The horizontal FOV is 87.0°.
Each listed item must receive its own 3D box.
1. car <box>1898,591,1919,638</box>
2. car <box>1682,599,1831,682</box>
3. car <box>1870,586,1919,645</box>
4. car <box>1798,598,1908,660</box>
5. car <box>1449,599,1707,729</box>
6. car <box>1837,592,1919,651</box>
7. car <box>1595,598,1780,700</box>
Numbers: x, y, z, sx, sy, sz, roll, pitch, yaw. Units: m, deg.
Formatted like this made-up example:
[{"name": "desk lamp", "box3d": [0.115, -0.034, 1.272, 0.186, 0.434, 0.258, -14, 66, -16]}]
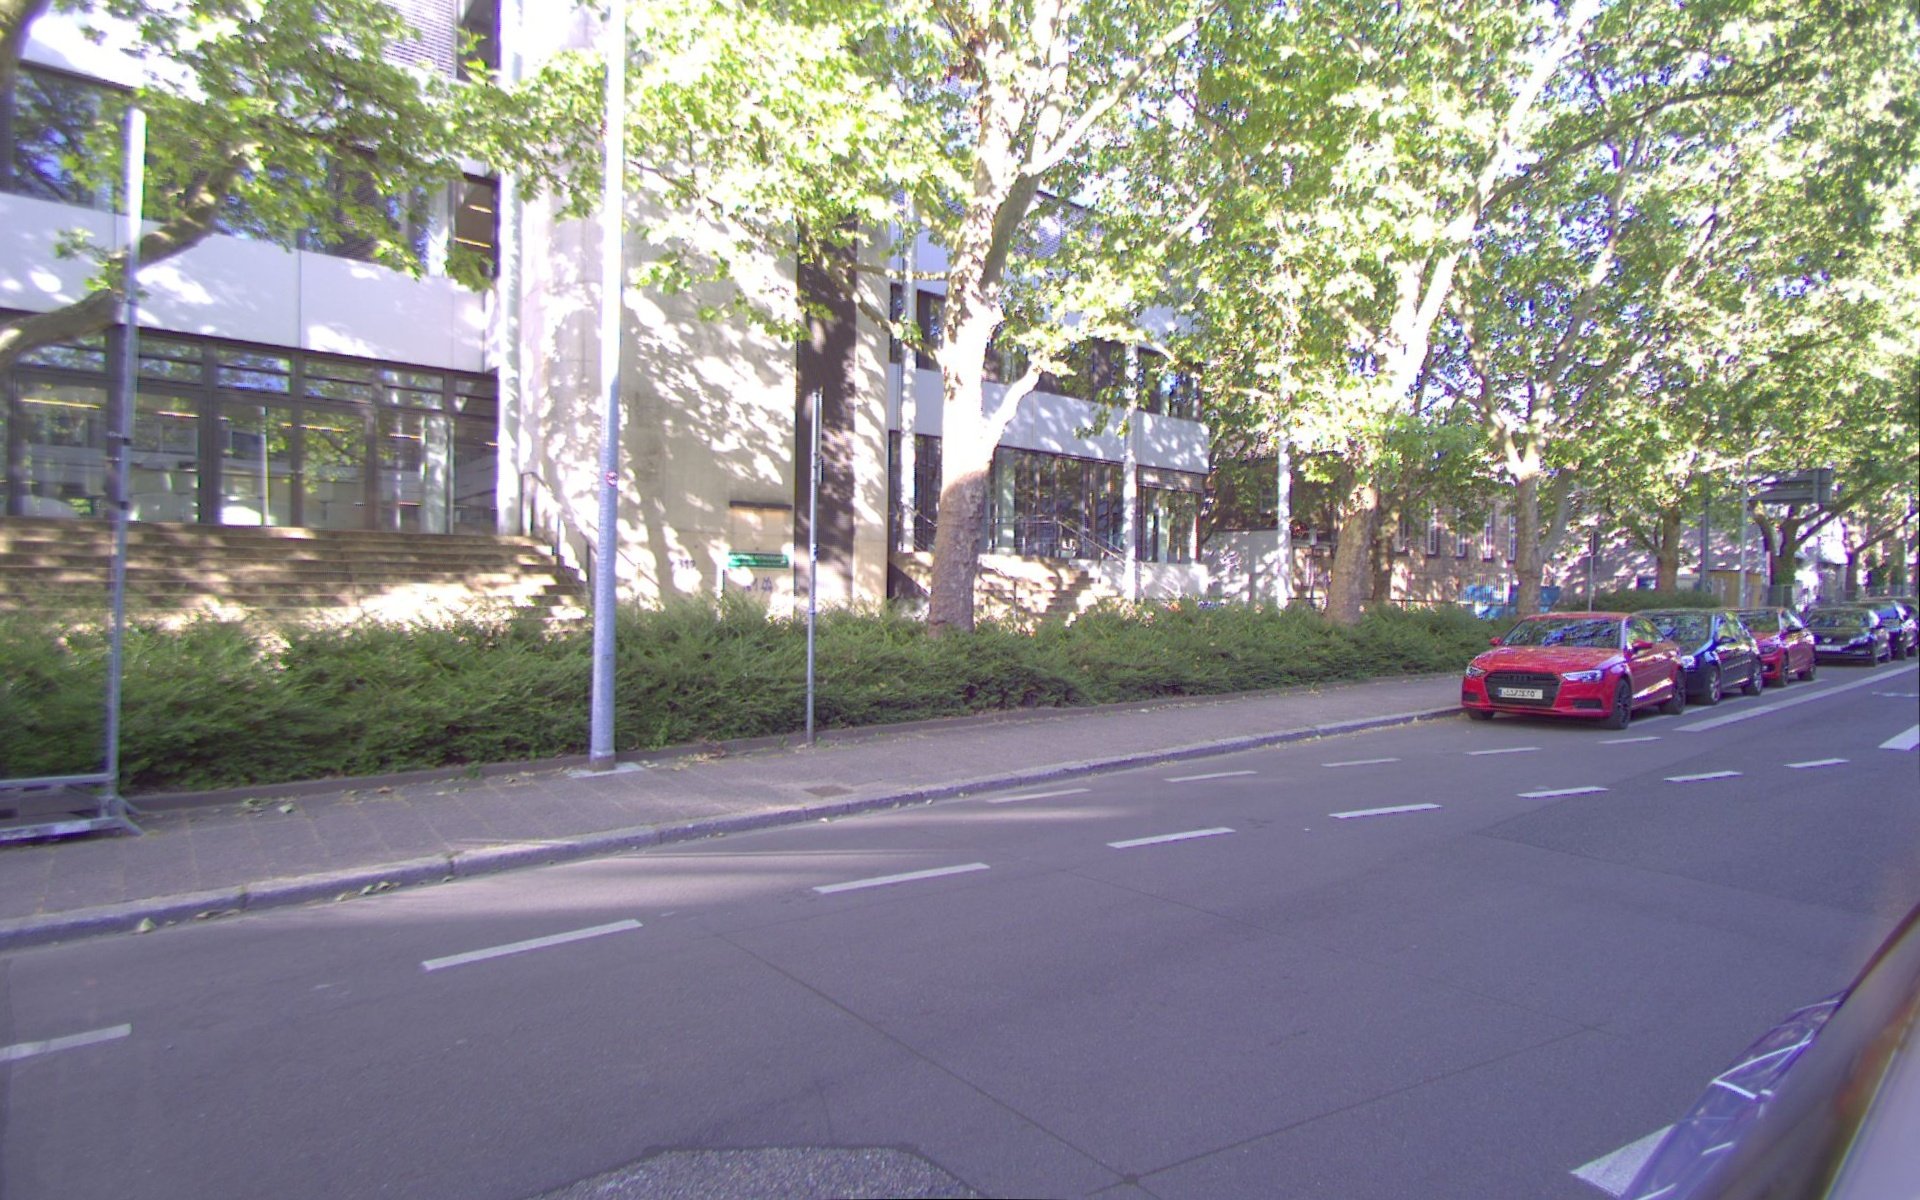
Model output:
[{"name": "car", "box3d": [35.928, 0.528, 37.240, 3.777, 1.675, 1.634, 0, -1, -41]}, {"name": "car", "box3d": [15.739, 0.723, 19.954, 3.674, 1.483, 1.634, 0, -1, -41]}, {"name": "car", "box3d": [30.972, 0.473, 32.874, 3.777, 1.828, 1.634, 0, -1, -41]}, {"name": "car", "box3d": [22.988, 0.695, 26.008, 3.674, 1.483, 1.634, 0, -1, -41]}, {"name": "car", "box3d": [8.350, 0.732, 13.540, 4.053, 1.483, 1.802, 0, -1, -41]}, {"name": "car", "box3d": [26.575, 0.582, 29.010, 3.777, 1.607, 1.634, 0, -1, -41]}, {"name": "car", "box3d": [11.964, 0.717, 16.571, 3.674, 1.483, 1.634, 0, -1, -41]}]
